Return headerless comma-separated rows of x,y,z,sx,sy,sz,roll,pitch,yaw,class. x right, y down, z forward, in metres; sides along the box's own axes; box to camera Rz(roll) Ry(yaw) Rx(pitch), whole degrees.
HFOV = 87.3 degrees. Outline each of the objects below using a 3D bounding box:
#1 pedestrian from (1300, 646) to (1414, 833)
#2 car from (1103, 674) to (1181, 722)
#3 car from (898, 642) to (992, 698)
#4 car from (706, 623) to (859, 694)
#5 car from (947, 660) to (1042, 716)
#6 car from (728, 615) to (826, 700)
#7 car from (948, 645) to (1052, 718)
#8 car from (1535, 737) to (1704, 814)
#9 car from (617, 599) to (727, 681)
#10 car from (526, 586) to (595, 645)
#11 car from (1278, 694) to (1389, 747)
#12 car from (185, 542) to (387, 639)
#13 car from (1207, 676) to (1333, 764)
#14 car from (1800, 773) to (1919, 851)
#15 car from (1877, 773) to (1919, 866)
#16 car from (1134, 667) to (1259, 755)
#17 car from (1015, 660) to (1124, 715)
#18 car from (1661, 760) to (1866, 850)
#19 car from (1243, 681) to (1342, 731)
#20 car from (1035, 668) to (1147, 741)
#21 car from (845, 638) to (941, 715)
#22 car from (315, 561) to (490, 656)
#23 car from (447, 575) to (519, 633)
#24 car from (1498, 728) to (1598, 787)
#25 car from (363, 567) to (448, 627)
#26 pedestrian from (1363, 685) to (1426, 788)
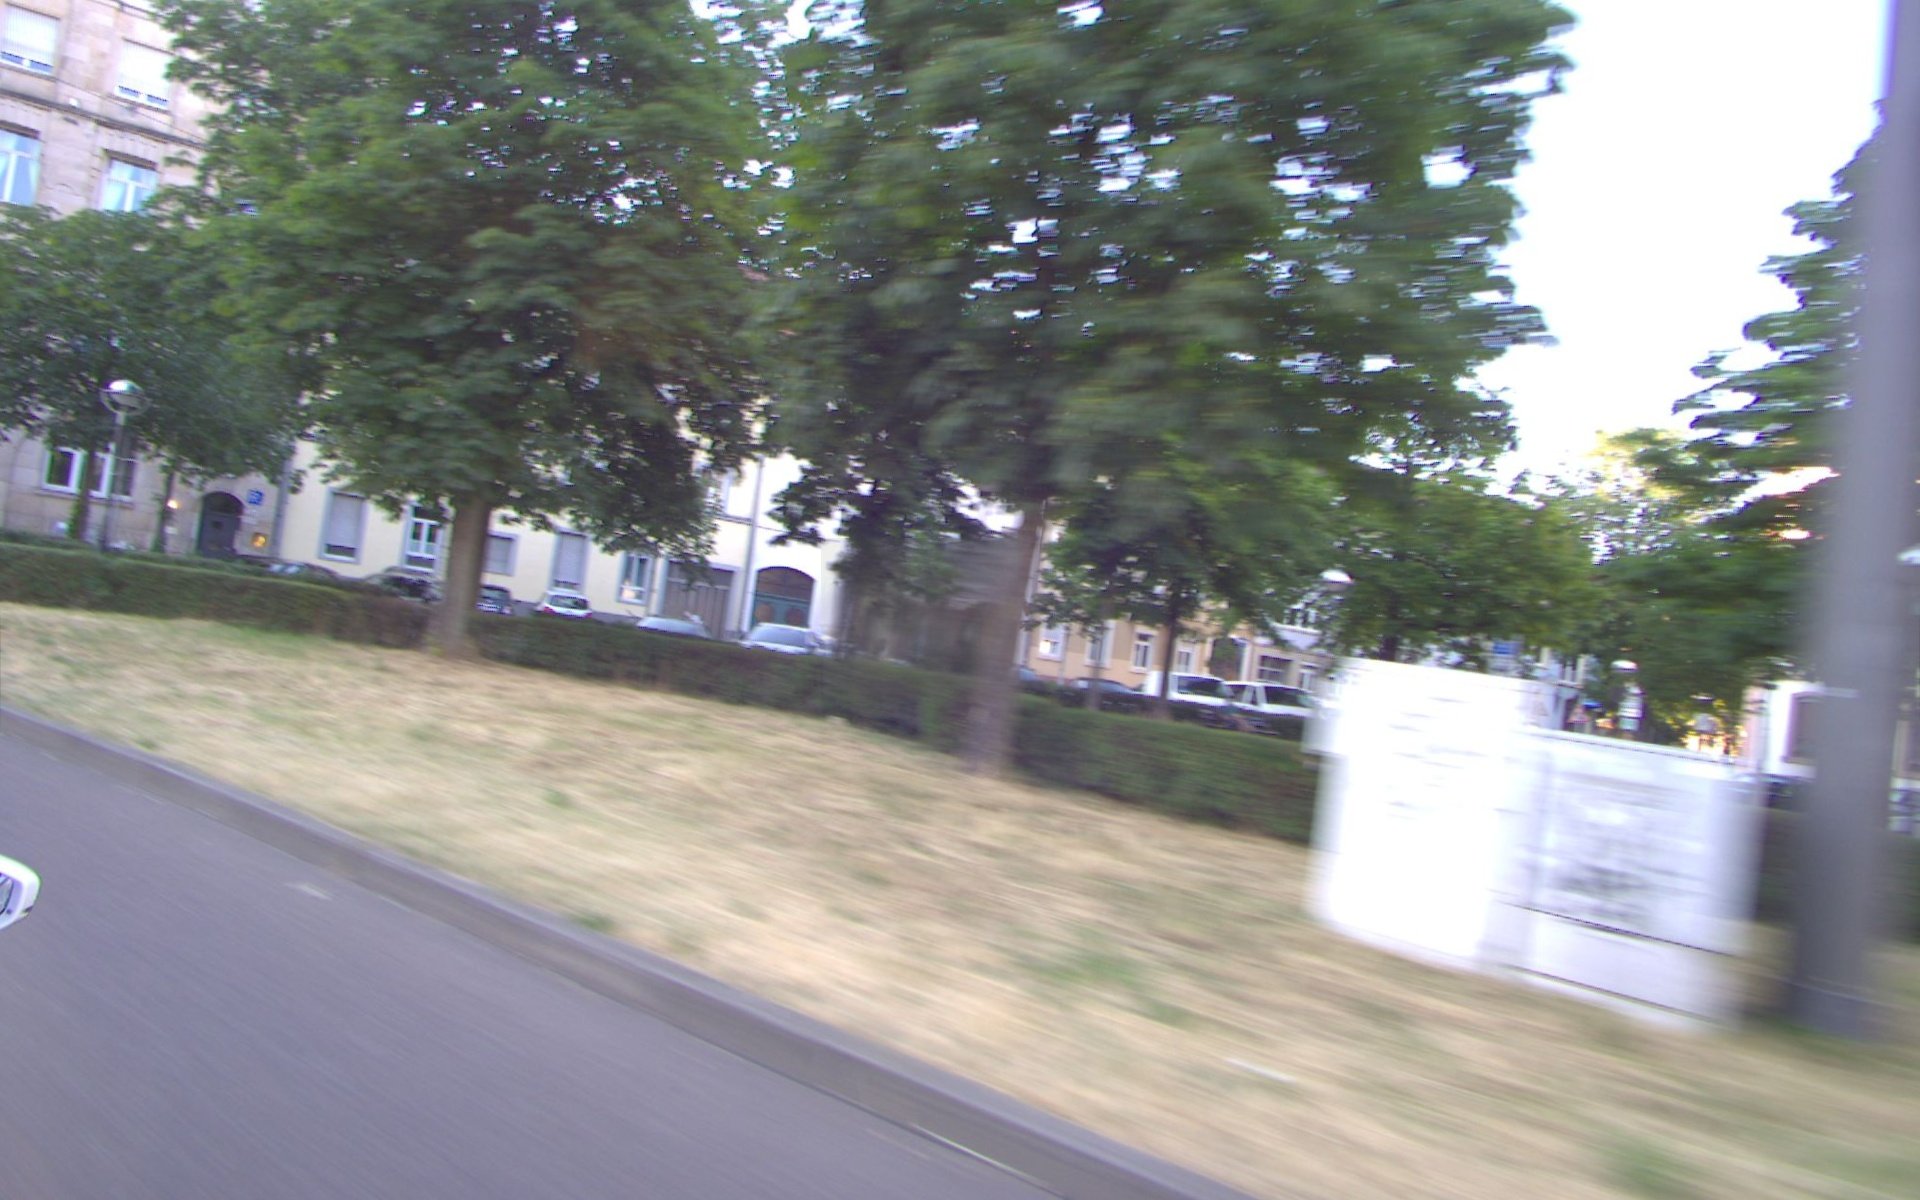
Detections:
3.790,1.320,9.597,0.642,1.643,0.611,7,-2,43,pedestrian
8.126,4.365,45.319,1.968,1.568,4.064,9,-2,-10,car
-0.648,2.657,38.958,1.977,1.568,4.044,10,-3,-25,car
-5.383,1.785,30.598,4.090,1.498,1.809,10,-3,-27,car
1.330,3.485,40.176,1.977,1.568,4.044,10,-3,-25,car
-4.471,1.334,24.699,1.968,1.635,4.064,9,-2,-10,car
1.042,2.259,28.746,1.968,1.568,4.064,9,-2,-10,car
19.287,5.095,29.696,1.698,1.435,4.396,9,-3,-5,car
-6.959,0.957,24.747,1.968,1.568,4.064,9,-2,-10,car
-13.266,0.469,33.368,1.815,1.587,4.048,10,-3,-22,car
15.693,5.067,42.273,4.283,1.547,1.953,10,-3,-29,car
-13.944,-0.134,21.138,1.835,1.574,4.064,9,-2,-10,car
9.481,3.623,31.271,1.932,2.044,5.085,9,-2,-2,car
24.424,5.622,26.238,1.671,1.465,3.678,9,-2,-3,car
20.020,4.492,18.819,1.672,1.743,4.014,9,-2,-5,car
6.813,3.172,29.684,2.083,1.923,5.085,9,-2,-2,car
4.508,3.611,41.877,1.990,1.569,4.019,11,-3,-43,car
19.646,4.974,24.832,1.698,1.350,3.783,9,-3,-5,car
15.521,4.936,47.179,1.710,1.630,4.372,10,-3,-26,car
3.776,3.021,29.770,1.968,1.568,4.064,9,-2,-10,car
-1.885,1.977,27.066,1.968,1.568,4.064,9,-2,-10,car
-11.758,0.210,21.554,1.835,1.574,4.064,9,-2,-10,car
-15.510,0.087,32.894,1.815,1.501,4.047,10,-3,-23,car
31.618,8.452,54.214,1.977,2.319,4.044,10,-2,-25,car
-17.952,-0.125,32.746,1.815,1.575,4.376,10,-3,-23,car
9.443,2.954,21.842,0.991,2.036,0.830,8,-2,26,pedestrian
